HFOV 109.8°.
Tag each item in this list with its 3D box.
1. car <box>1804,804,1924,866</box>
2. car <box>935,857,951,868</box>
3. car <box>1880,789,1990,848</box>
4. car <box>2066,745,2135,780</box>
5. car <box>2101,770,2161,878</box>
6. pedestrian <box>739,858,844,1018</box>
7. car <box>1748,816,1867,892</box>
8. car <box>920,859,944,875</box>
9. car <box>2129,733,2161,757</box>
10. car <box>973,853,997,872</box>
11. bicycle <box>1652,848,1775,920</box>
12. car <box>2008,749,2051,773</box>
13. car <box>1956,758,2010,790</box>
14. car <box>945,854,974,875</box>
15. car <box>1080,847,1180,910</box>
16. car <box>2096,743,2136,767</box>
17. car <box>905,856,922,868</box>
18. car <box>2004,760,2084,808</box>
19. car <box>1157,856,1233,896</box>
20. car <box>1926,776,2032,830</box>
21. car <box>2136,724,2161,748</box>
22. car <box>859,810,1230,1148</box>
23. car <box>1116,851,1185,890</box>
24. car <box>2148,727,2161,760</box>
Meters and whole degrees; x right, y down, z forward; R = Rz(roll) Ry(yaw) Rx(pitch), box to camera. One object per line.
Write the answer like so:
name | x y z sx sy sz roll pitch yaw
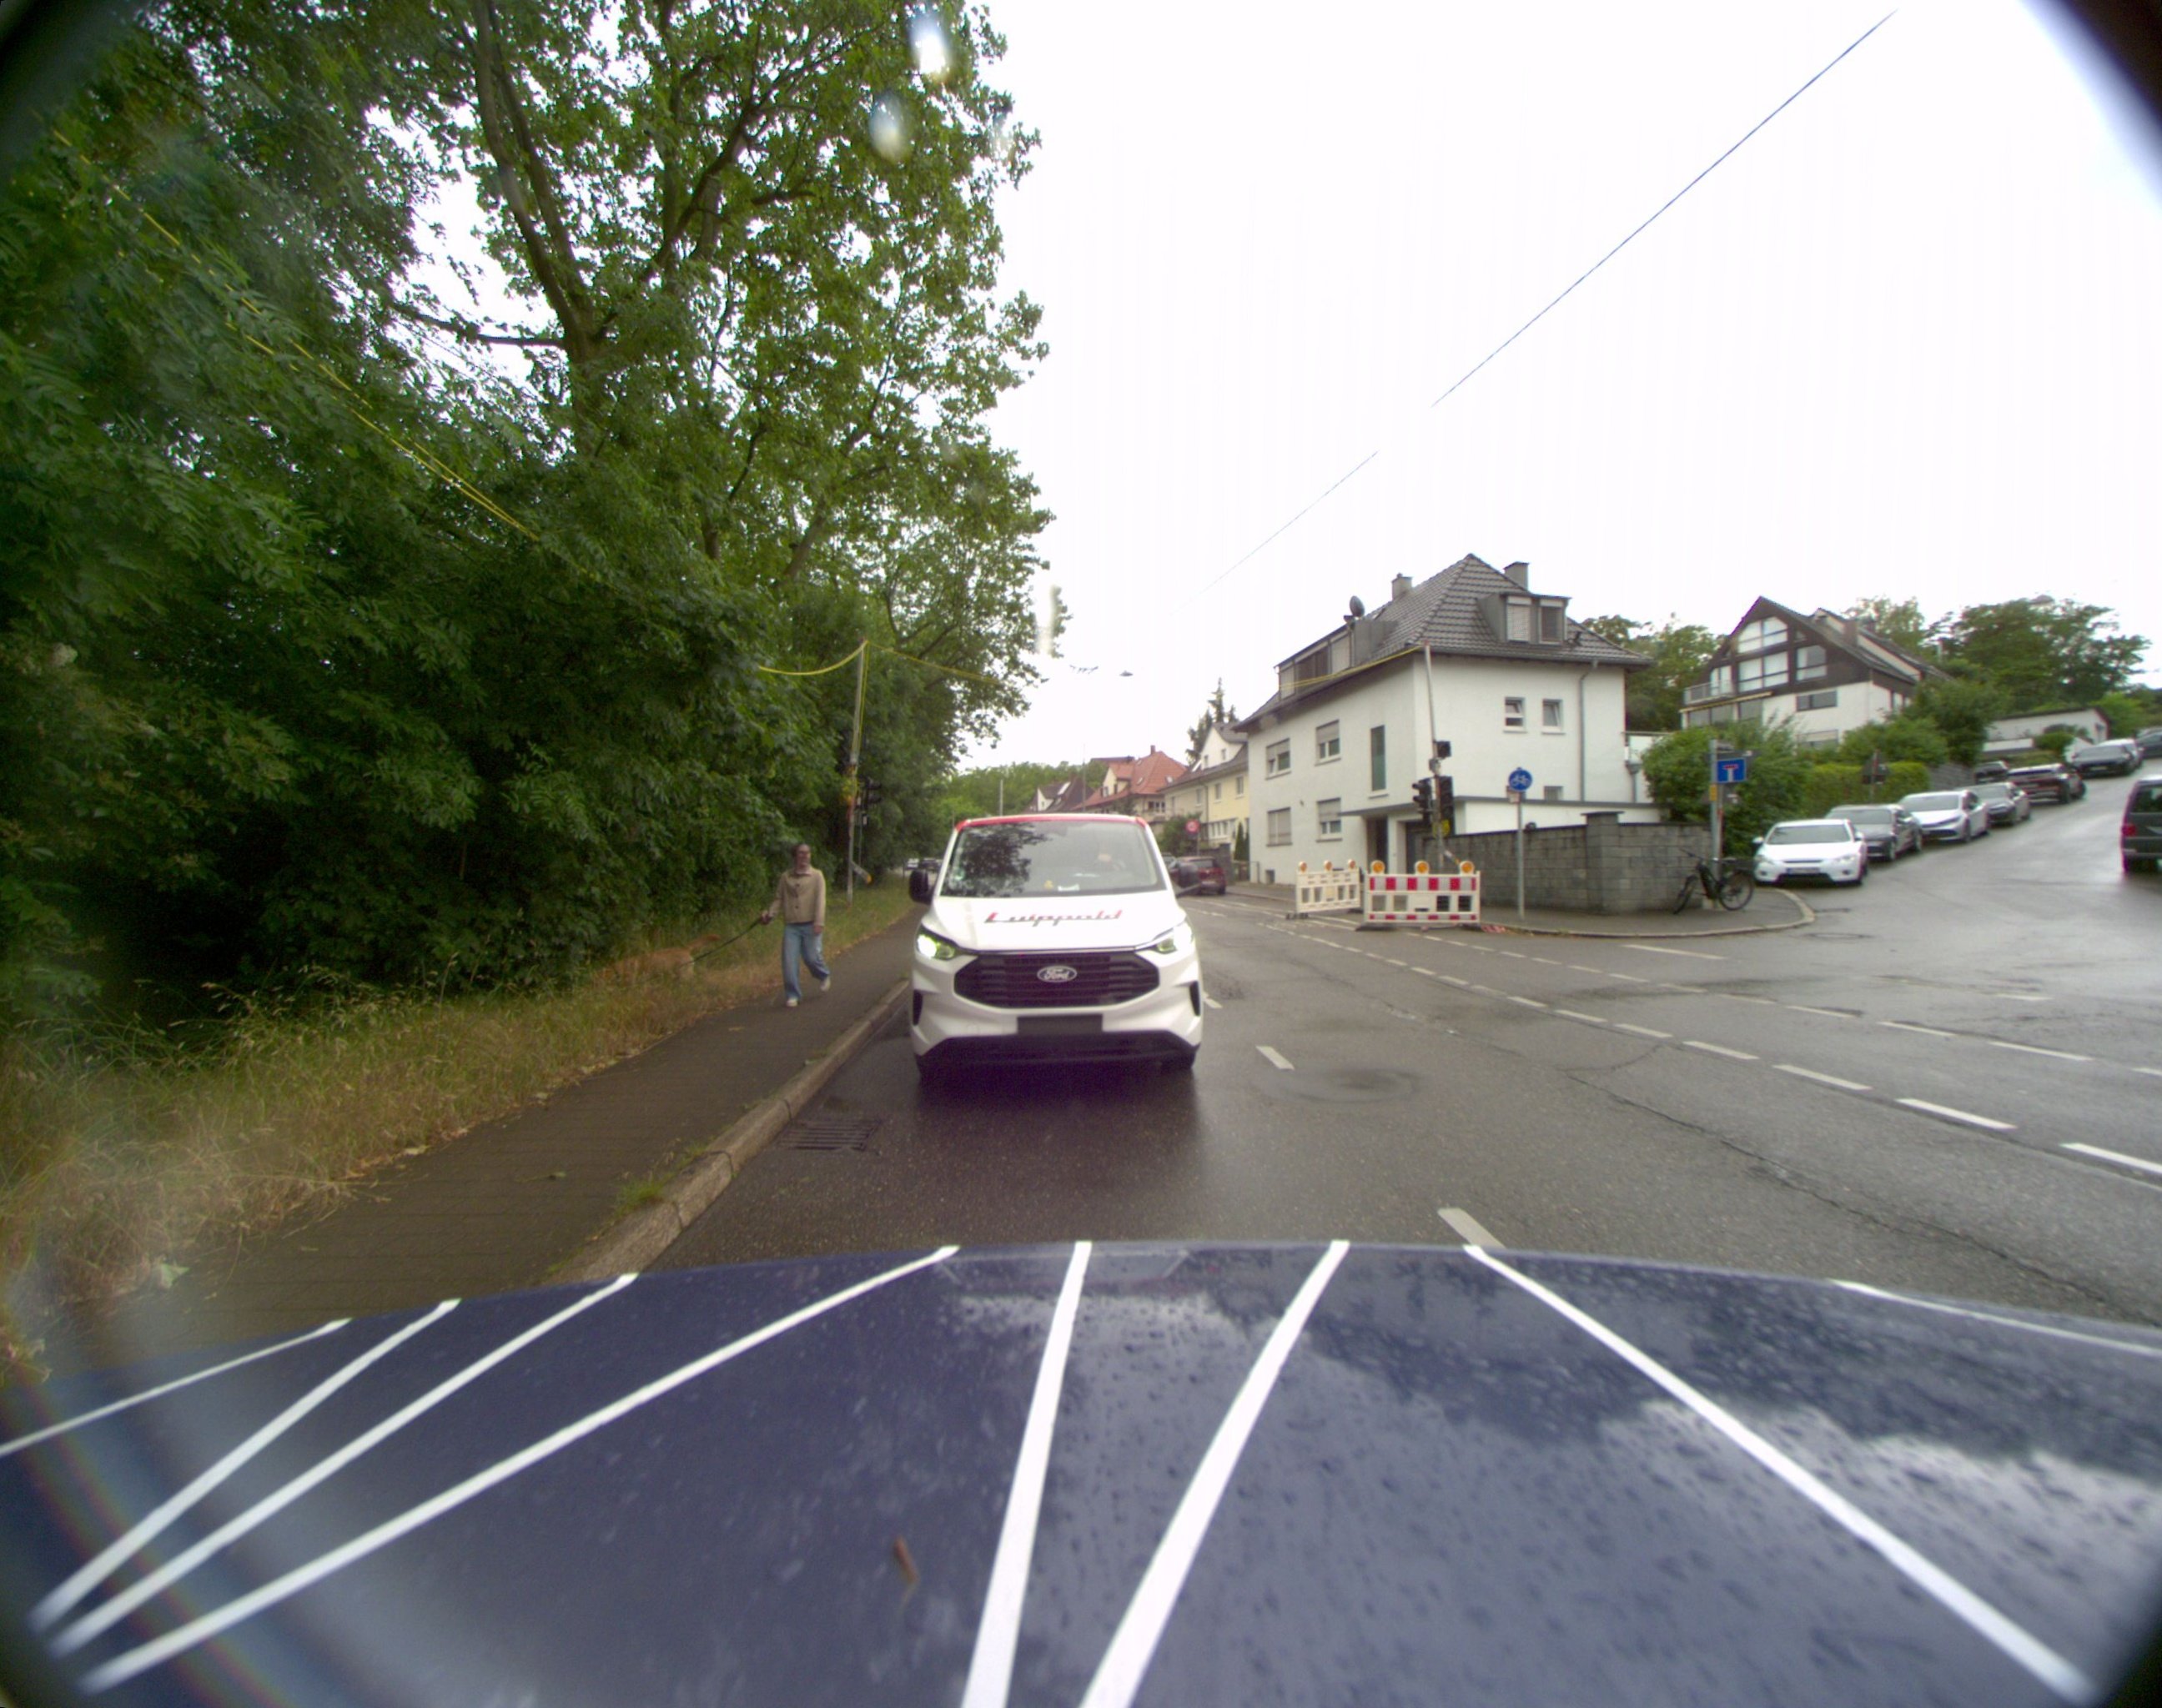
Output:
car | 22.468 -0.558 21.765 3.910 1.380 1.719 -7 3 -34
car | -18.739 1.128 103.018 1.691 1.419 3.770 -2 0 -17
car | 27.274 -1.152 24.238 3.951 1.462 1.755 -7 3 -33
car | 54.819 -4.878 40.847 4.034 1.511 1.786 -2 0 -31
car | 23.887 -0.751 16.268 4.497 2.003 1.996 -7 3 -31
pedestrian | -2.837 0.794 7.510 0.735 1.490 0.785 0 1 -1
car | 17.781 -0.048 18.543 4.126 1.455 1.849 -7 4 -43
car | -15.792 1.359 80.525 1.874 1.612 4.158 -2 0 -18
car | 68.329 -6.935 47.704 1.286 1.310 2.945 -3 1 -36
car | -9.605 0.840 75.962 1.882 1.814 4.121 -2 0 -14
bicycle | 11.592 0.536 13.941 2.006 1.232 0.510 -2 3 -8
car | 57.243 -5.636 45.872 3.656 1.205 1.577 -7 3 -38
car | 52.872 -4.648 44.524 4.020 1.545 1.812 -3 1 -37
car | -10.402 0.844 64.691 2.001 1.664 4.683 -2 0 -13
car | 1.418 0.718 23.986 1.986 1.737 4.549 -2 0 -11
car | 59.842 -5.740 43.904 2.988 1.191 1.305 -6 3 -35
car | -21.782 1.037 98.656 1.860 1.518 4.813 -3 0 -16
car | 40.724 -2.982 32.119 4.004 1.617 1.638 -8 4 -32
car | 4.387 0.816 29.912 1.787 1.423 3.844 -2 0 -10
car | 32.331 -1.831 27.340 4.111 1.430 1.921 -9 4 -33
car | 81.123 -8.864 55.966 1.754 1.508 3.961 -3 1 -35
car | -0.181 0.724 6.970 2.102 1.908 5.090 -2 0 1
car | 3.134 0.730 35.039 1.798 1.630 4.150 -1 0 -15
car | 72.469 -7.445 48.989 2.003 2.000 3.993 -2 -4 -32
